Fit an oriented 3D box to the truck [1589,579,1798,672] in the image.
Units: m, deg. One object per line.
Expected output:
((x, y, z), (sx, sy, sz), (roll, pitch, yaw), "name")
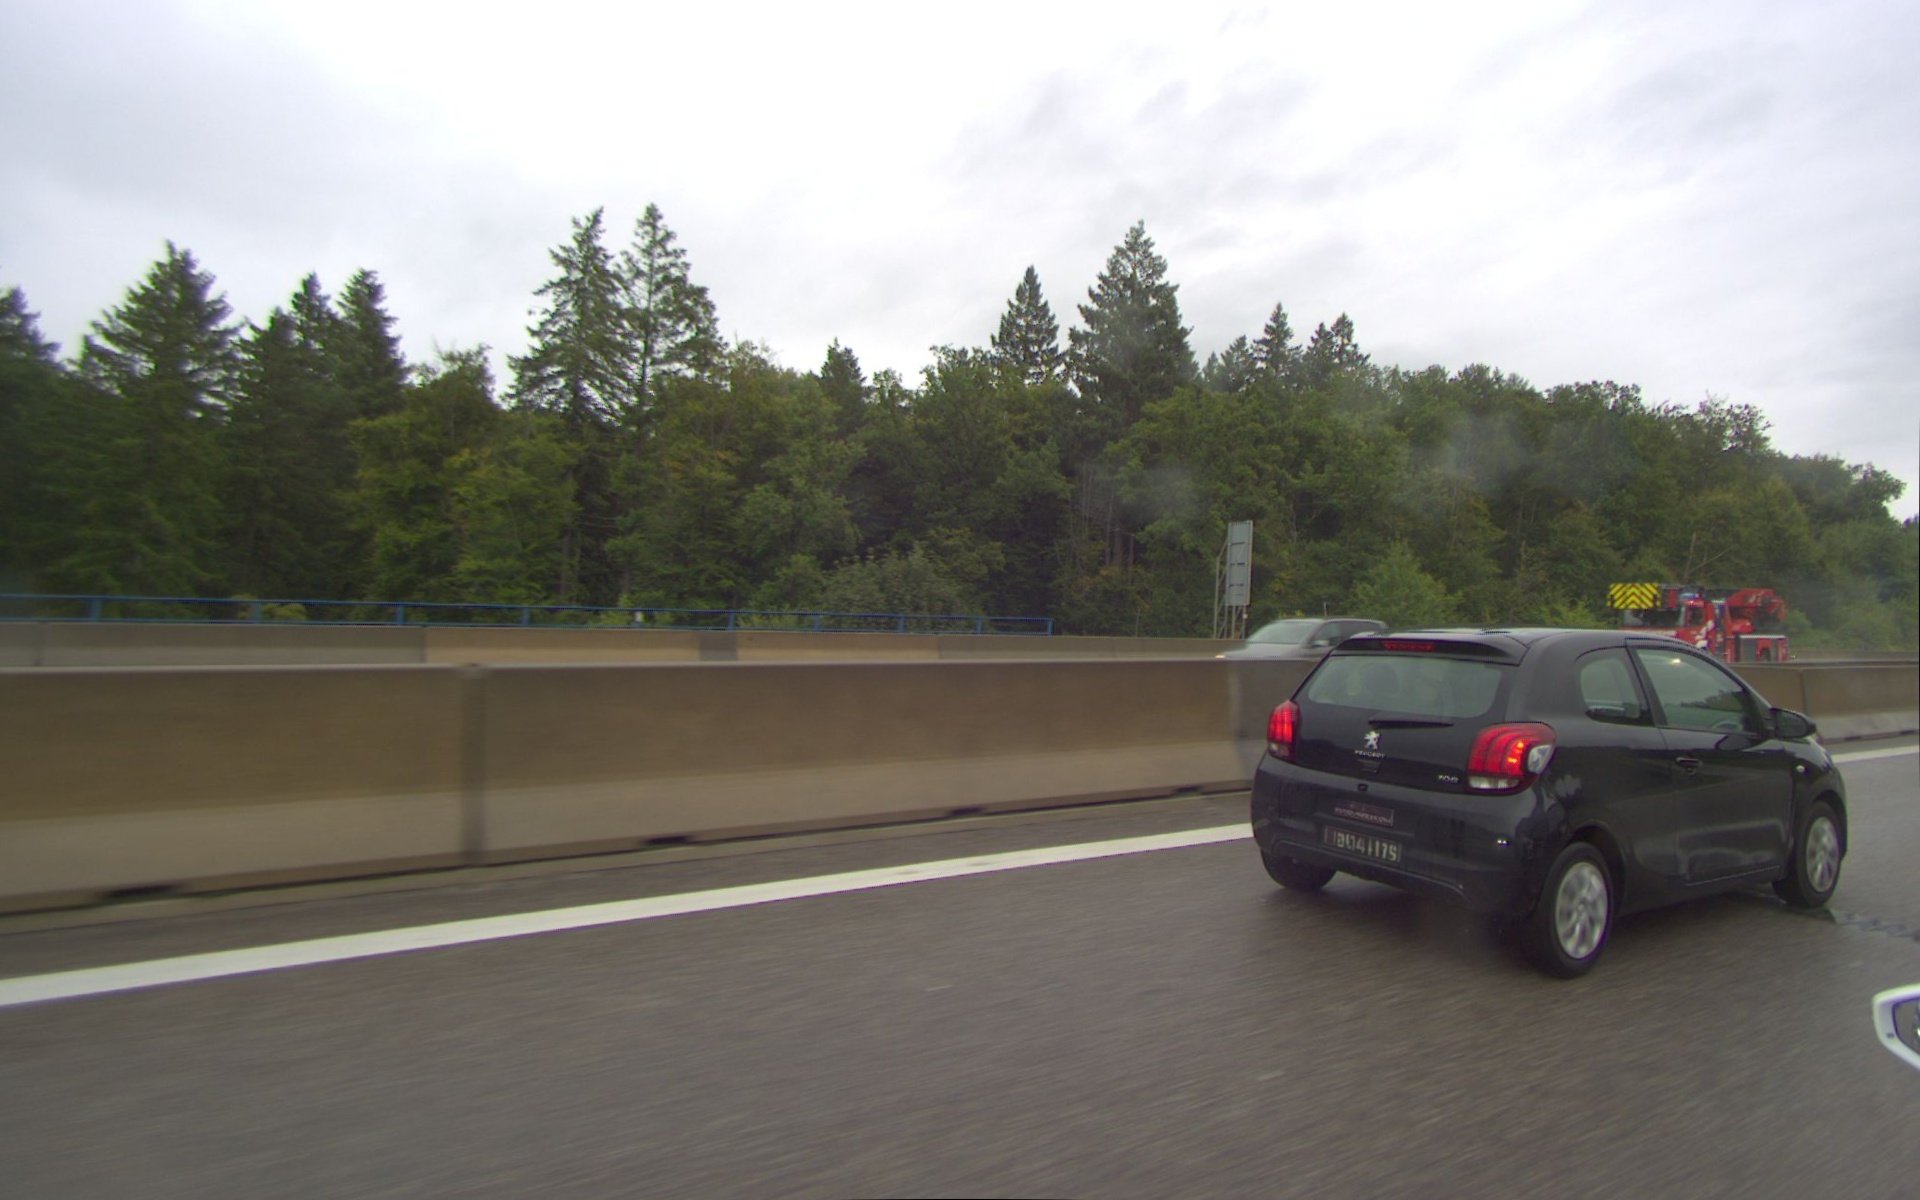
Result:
((28.068, 0.990, 38.190), (10.536, 3.216, 2.421), (1, -1, -30), "truck")

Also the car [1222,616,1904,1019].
((3.348, 0.866, 5.443), (3.642, 1.482, 1.675), (1, 0, -31), "car")

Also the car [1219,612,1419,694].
((7.683, 1.090, 21.396), (4.218, 1.599, 1.697), (1, -1, -30), "car")
